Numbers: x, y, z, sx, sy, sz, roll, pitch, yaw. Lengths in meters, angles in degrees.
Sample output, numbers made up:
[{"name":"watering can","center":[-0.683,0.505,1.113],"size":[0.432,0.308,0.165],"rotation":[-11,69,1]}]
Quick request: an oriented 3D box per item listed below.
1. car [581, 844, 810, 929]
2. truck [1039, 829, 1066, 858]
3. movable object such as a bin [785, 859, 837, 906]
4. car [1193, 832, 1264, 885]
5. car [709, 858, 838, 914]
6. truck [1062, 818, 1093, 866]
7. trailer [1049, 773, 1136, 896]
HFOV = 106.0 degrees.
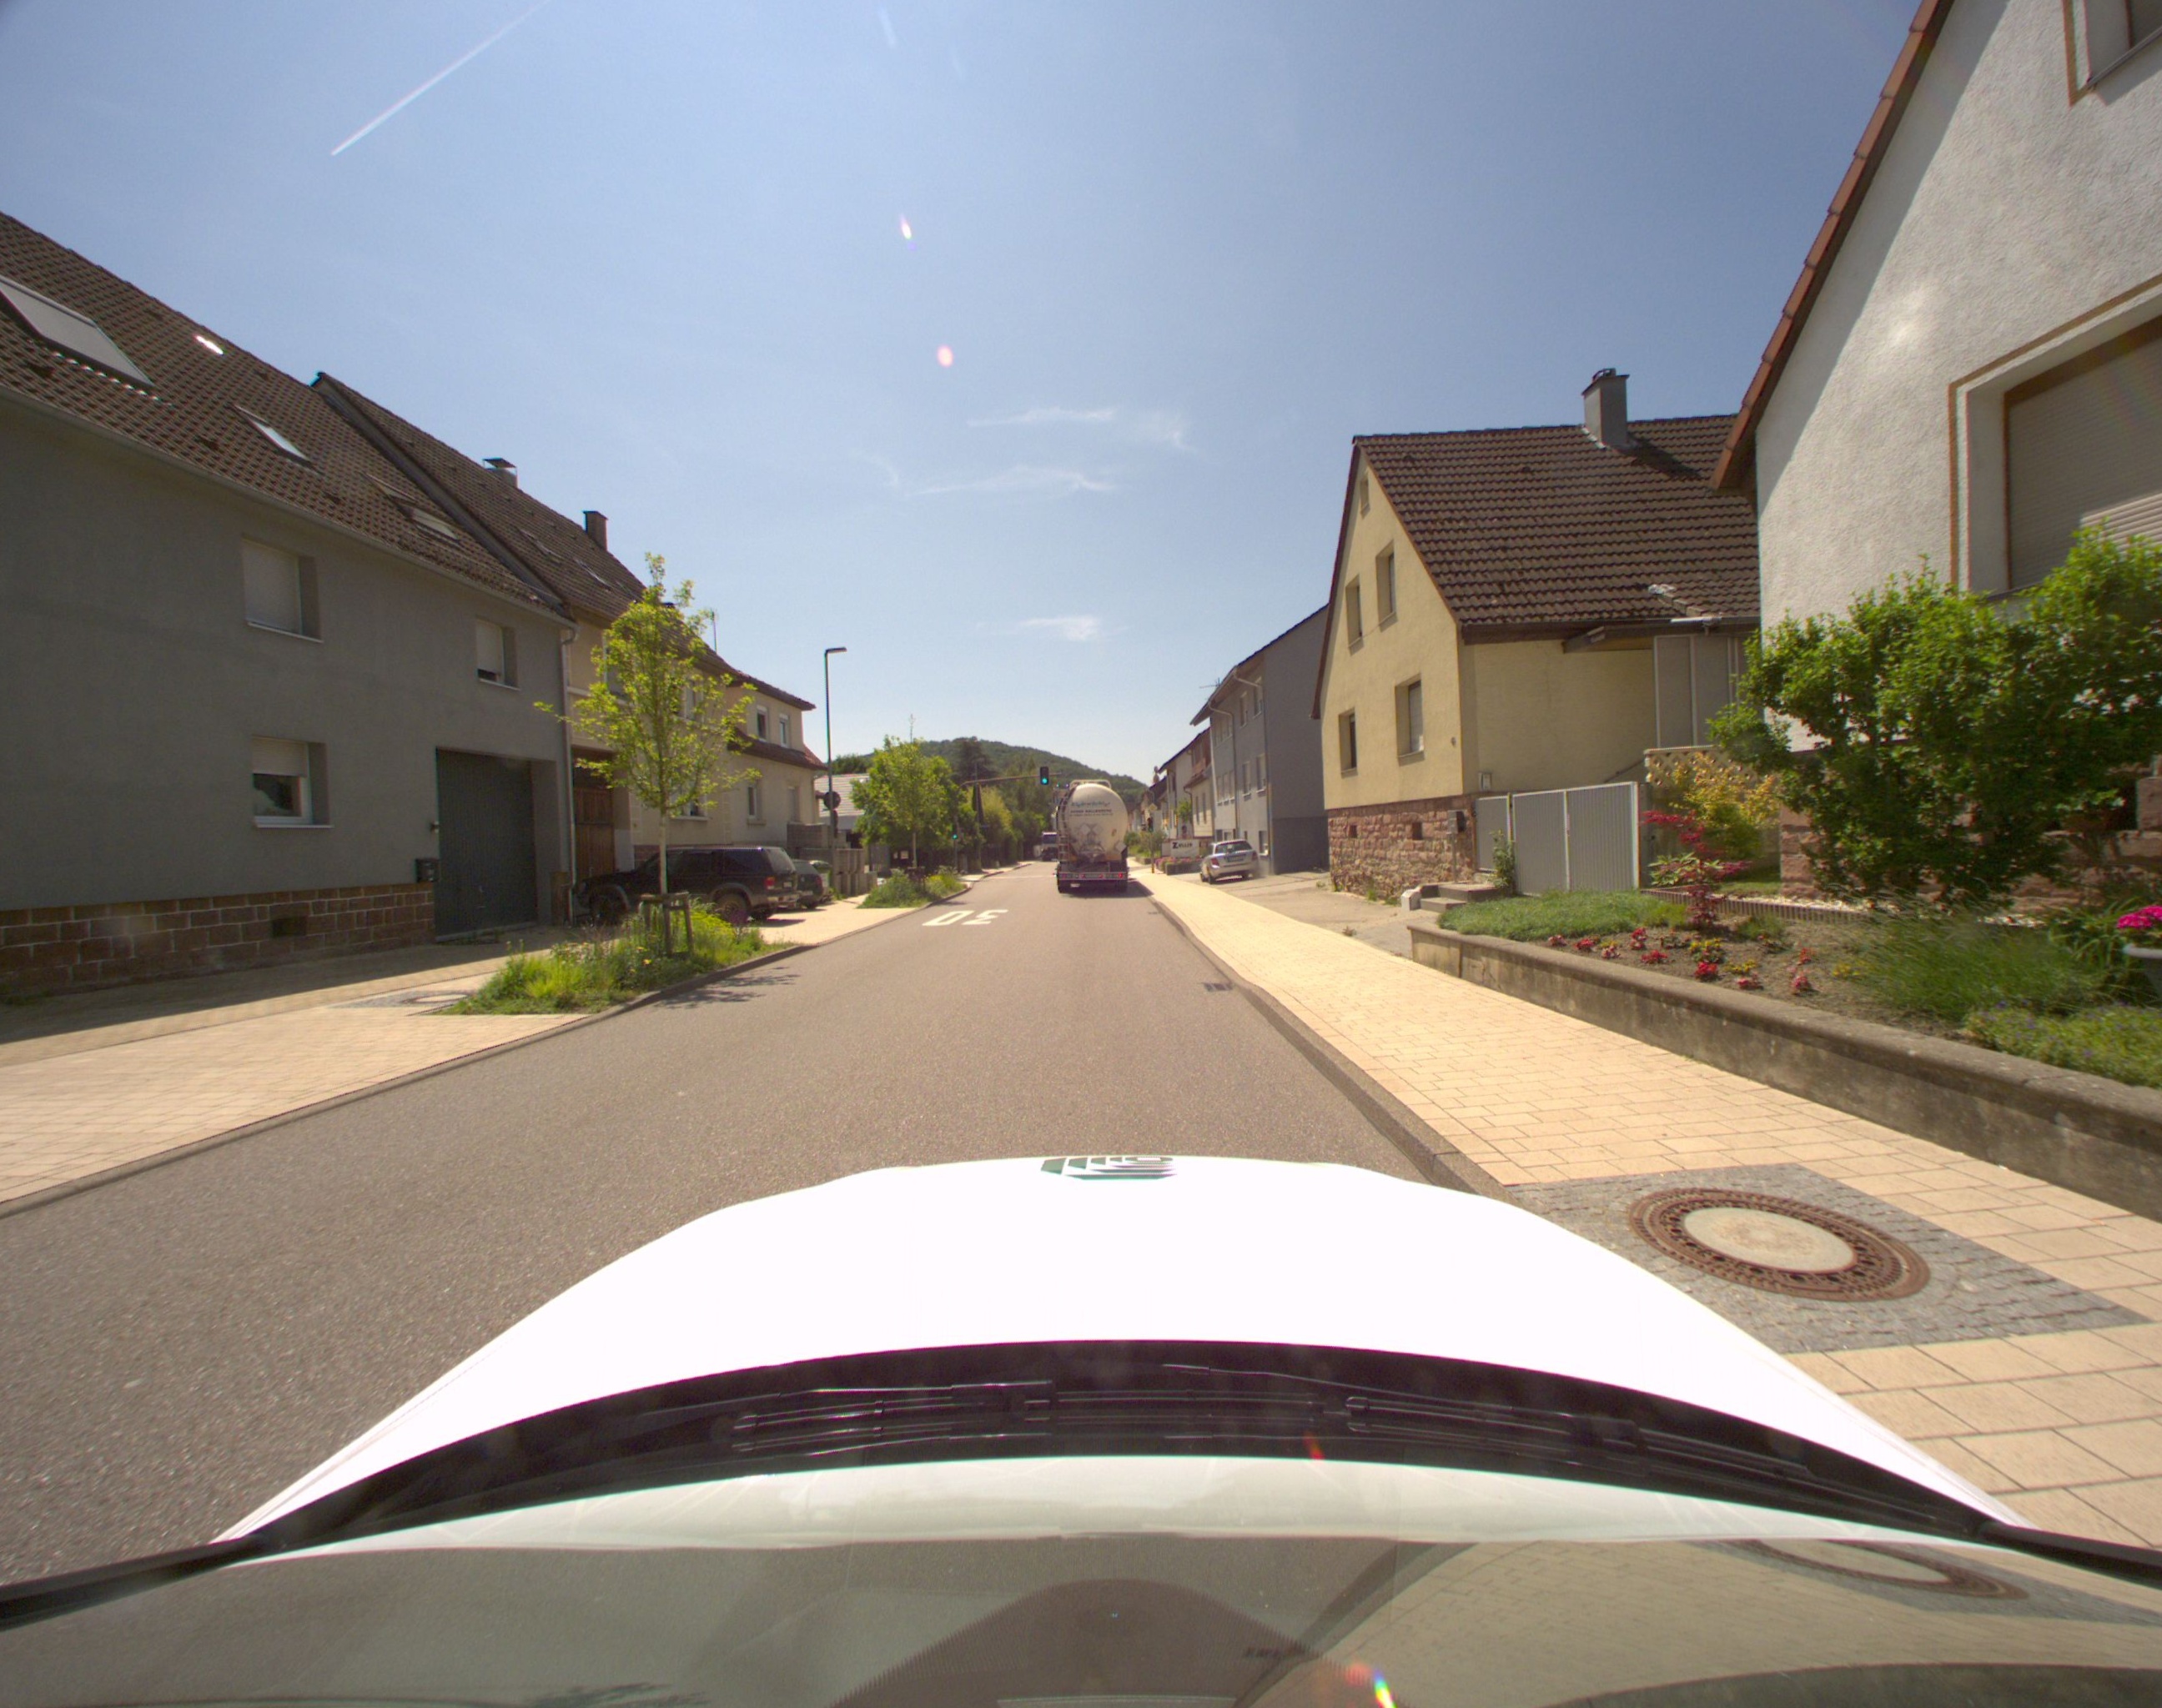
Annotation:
[{"name":"car","center":[-8.853,0.711,18.971],"size":[4.380,1.750,1.878],"rotation":[-2,0,0]},{"name":"truck","center":[-3.425,-1.249,98.773],"size":[2.719,3.371,8.636],"rotation":[-1,0,1]},{"name":"movable object such as a bin","center":[-8.249,0.842,24.965],"size":[0.984,1.319,1.406],"rotation":[-1,2,5]},{"name":"car","center":[5.219,0.157,29.321],"size":[1.784,1.541,4.523],"rotation":[-8,0,3]},{"name":"car","center":[-8.768,0.890,23.147],"size":[3.505,1.439,1.710],"rotation":[-2,0,35]},{"name":"truck","center":[-0.247,-1.181,85.755],"size":[2.837,4.678,11.341],"rotation":[-2,0,1]},{"name":"trailer","center":[0.379,-0.672,32.031],"size":[2.787,4.001,10.321],"rotation":[-1,0,0]}]
